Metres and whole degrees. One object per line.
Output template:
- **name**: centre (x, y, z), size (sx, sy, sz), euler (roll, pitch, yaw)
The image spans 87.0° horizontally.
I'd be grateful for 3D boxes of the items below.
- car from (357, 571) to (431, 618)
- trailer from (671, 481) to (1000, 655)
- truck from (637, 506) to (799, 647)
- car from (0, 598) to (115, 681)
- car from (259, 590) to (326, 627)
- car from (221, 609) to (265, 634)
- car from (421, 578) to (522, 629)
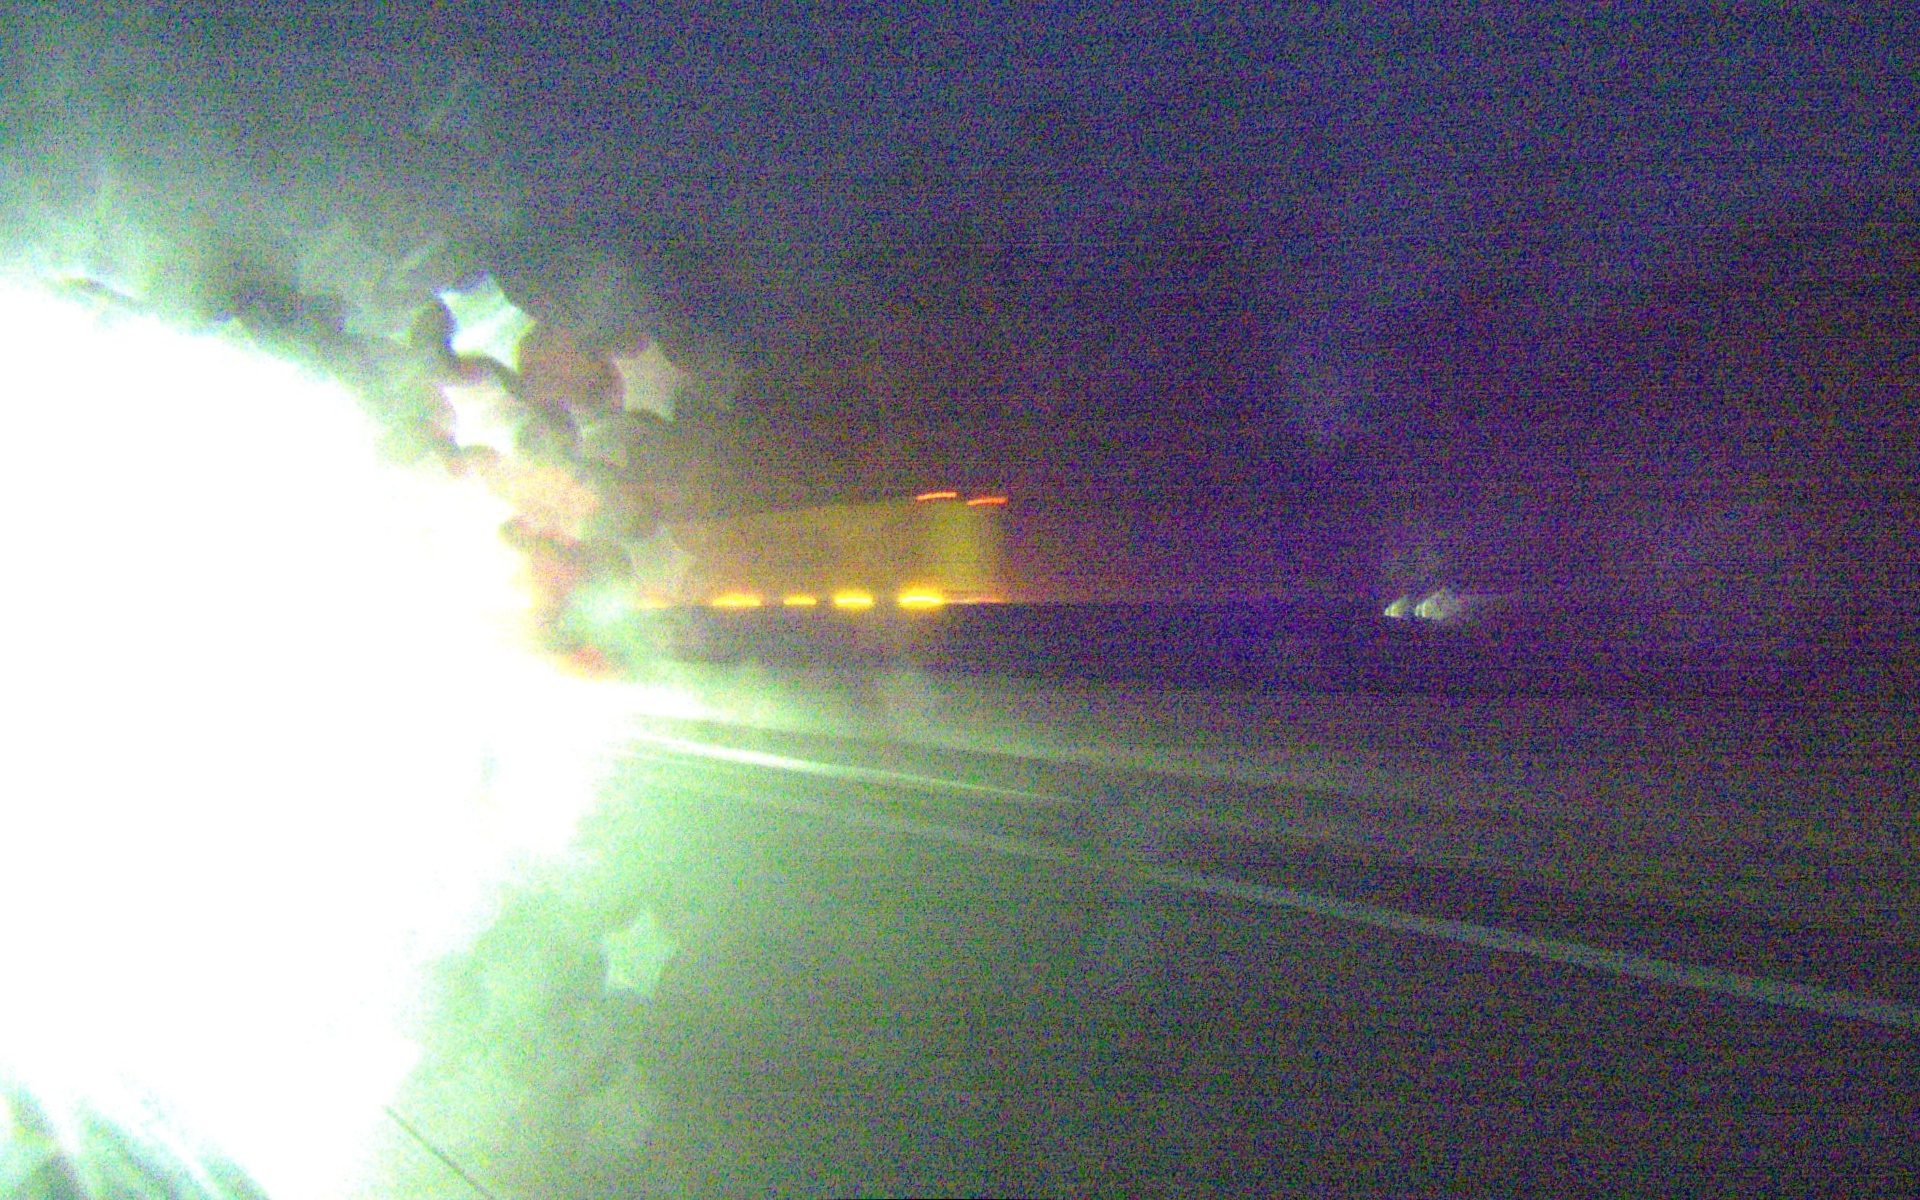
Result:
- **car**: centre (-31.026, -0.297, 55.380), size (4.937, 2.459, 2.150), euler (-1, 0, 43)
- **trailer**: centre (-4.888, -0.871, 34.885), size (14.105, 5.013, 2.744), euler (-1, 0, 43)
- **truck**: centre (-9.450, -0.812, 39.096), size (6.715, 5.013, 2.744), euler (-1, 0, 43)
- **car**: centre (-23.484, 0.936, 25.923), size (5.555, 1.898, 2.114), euler (-1, 0, 43)
- **car**: centre (-31.250, 0.399, 47.352), size (4.002, 1.639, 1.855), euler (-1, -1, 45)
- **car**: centre (-49.946, 1.474, 70.458), size (4.002, 1.639, 1.855), euler (-1, -1, 45)
- **car**: centre (-18.159, 0.159, 37.547), size (3.998, 1.772, 1.973), euler (-1, -1, 41)
